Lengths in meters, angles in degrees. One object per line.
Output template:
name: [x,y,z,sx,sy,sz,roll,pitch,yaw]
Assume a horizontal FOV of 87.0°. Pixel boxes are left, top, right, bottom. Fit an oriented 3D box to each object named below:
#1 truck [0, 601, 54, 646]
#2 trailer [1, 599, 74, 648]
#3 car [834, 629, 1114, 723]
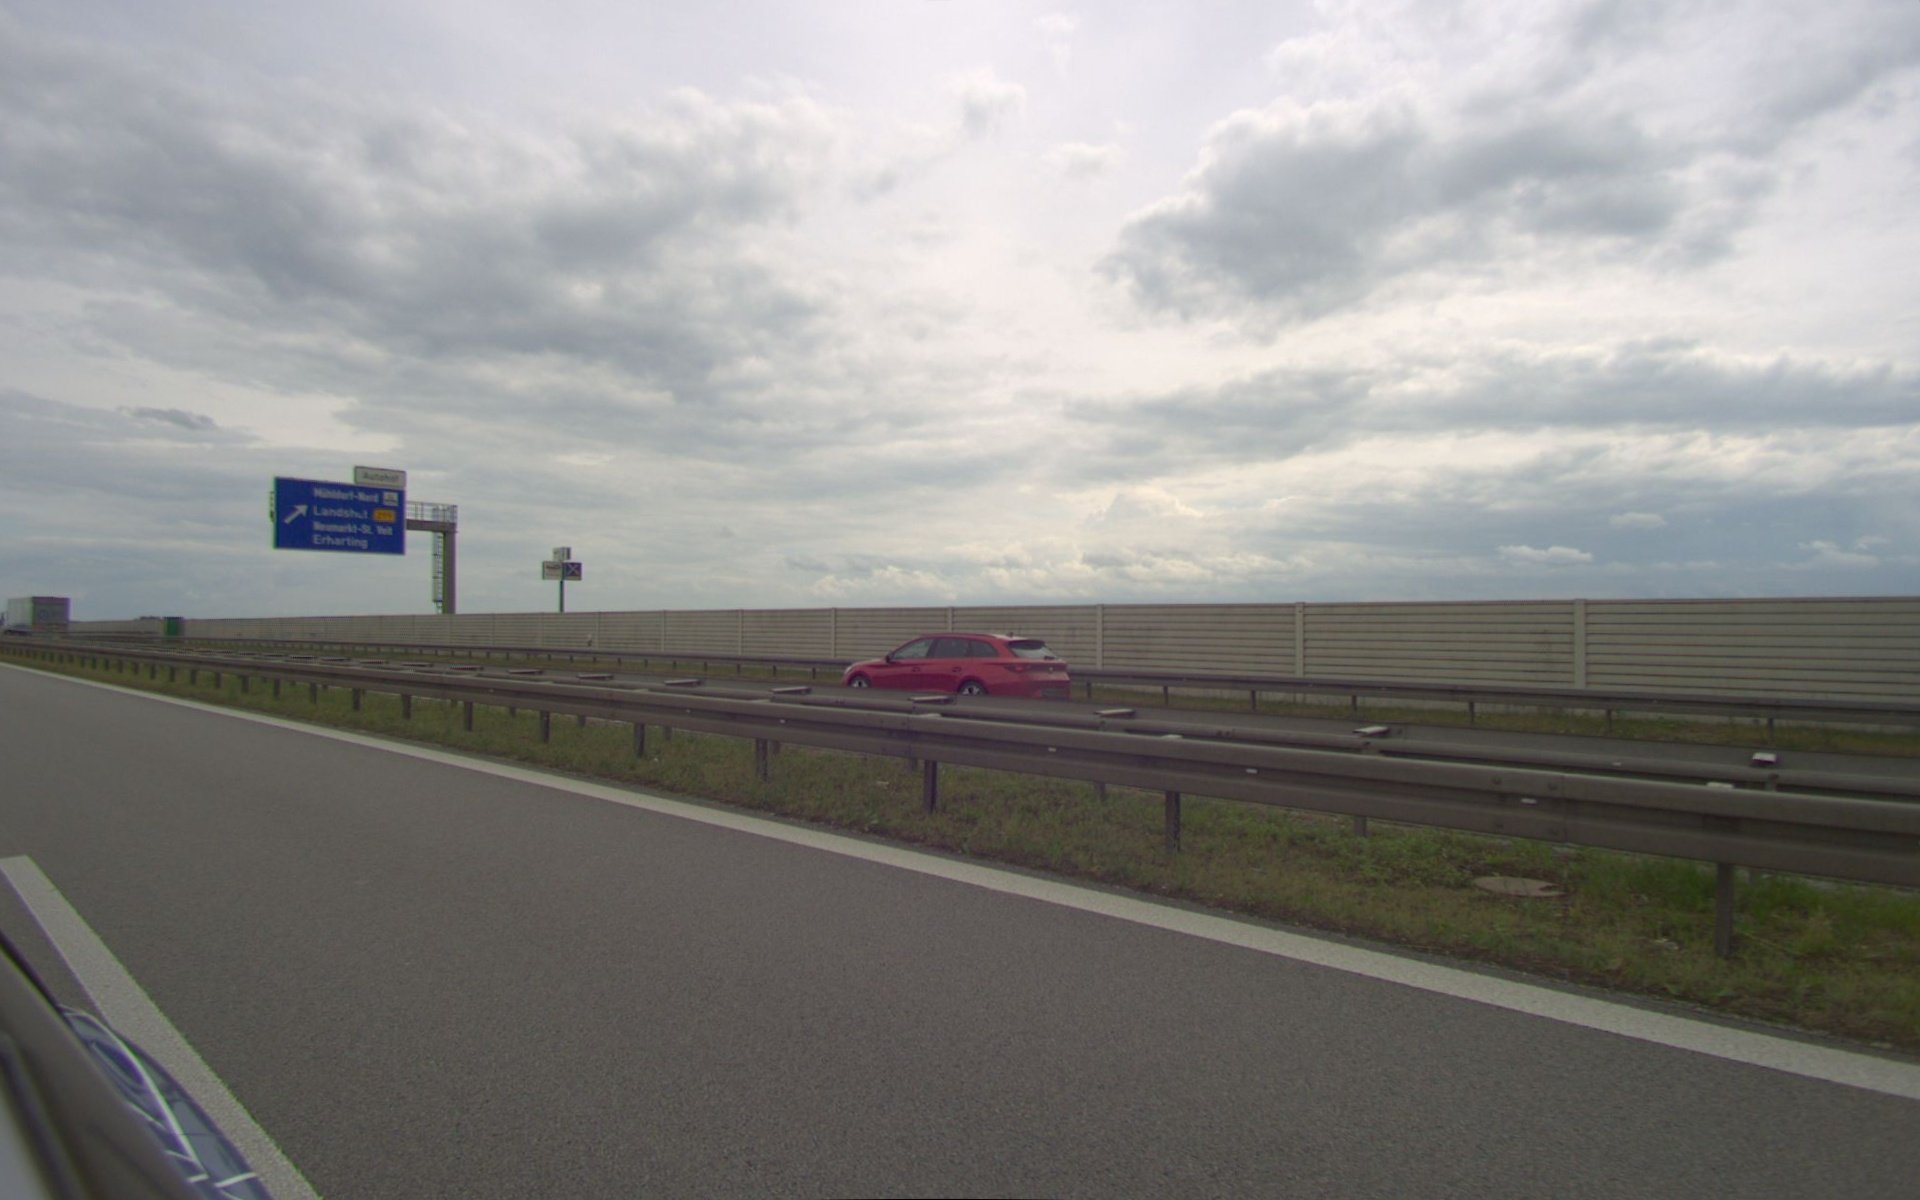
truck: [-89.052,2.292,96.321,7.319,4.045,3.077,-2,-4,41]
trailer: [-83.935,2.202,91.933,14.015,4.107,3.146,-2,-4,41]
car: [0.120,1.224,17.557,4.874,1.414,1.798,-1,-3,42]
